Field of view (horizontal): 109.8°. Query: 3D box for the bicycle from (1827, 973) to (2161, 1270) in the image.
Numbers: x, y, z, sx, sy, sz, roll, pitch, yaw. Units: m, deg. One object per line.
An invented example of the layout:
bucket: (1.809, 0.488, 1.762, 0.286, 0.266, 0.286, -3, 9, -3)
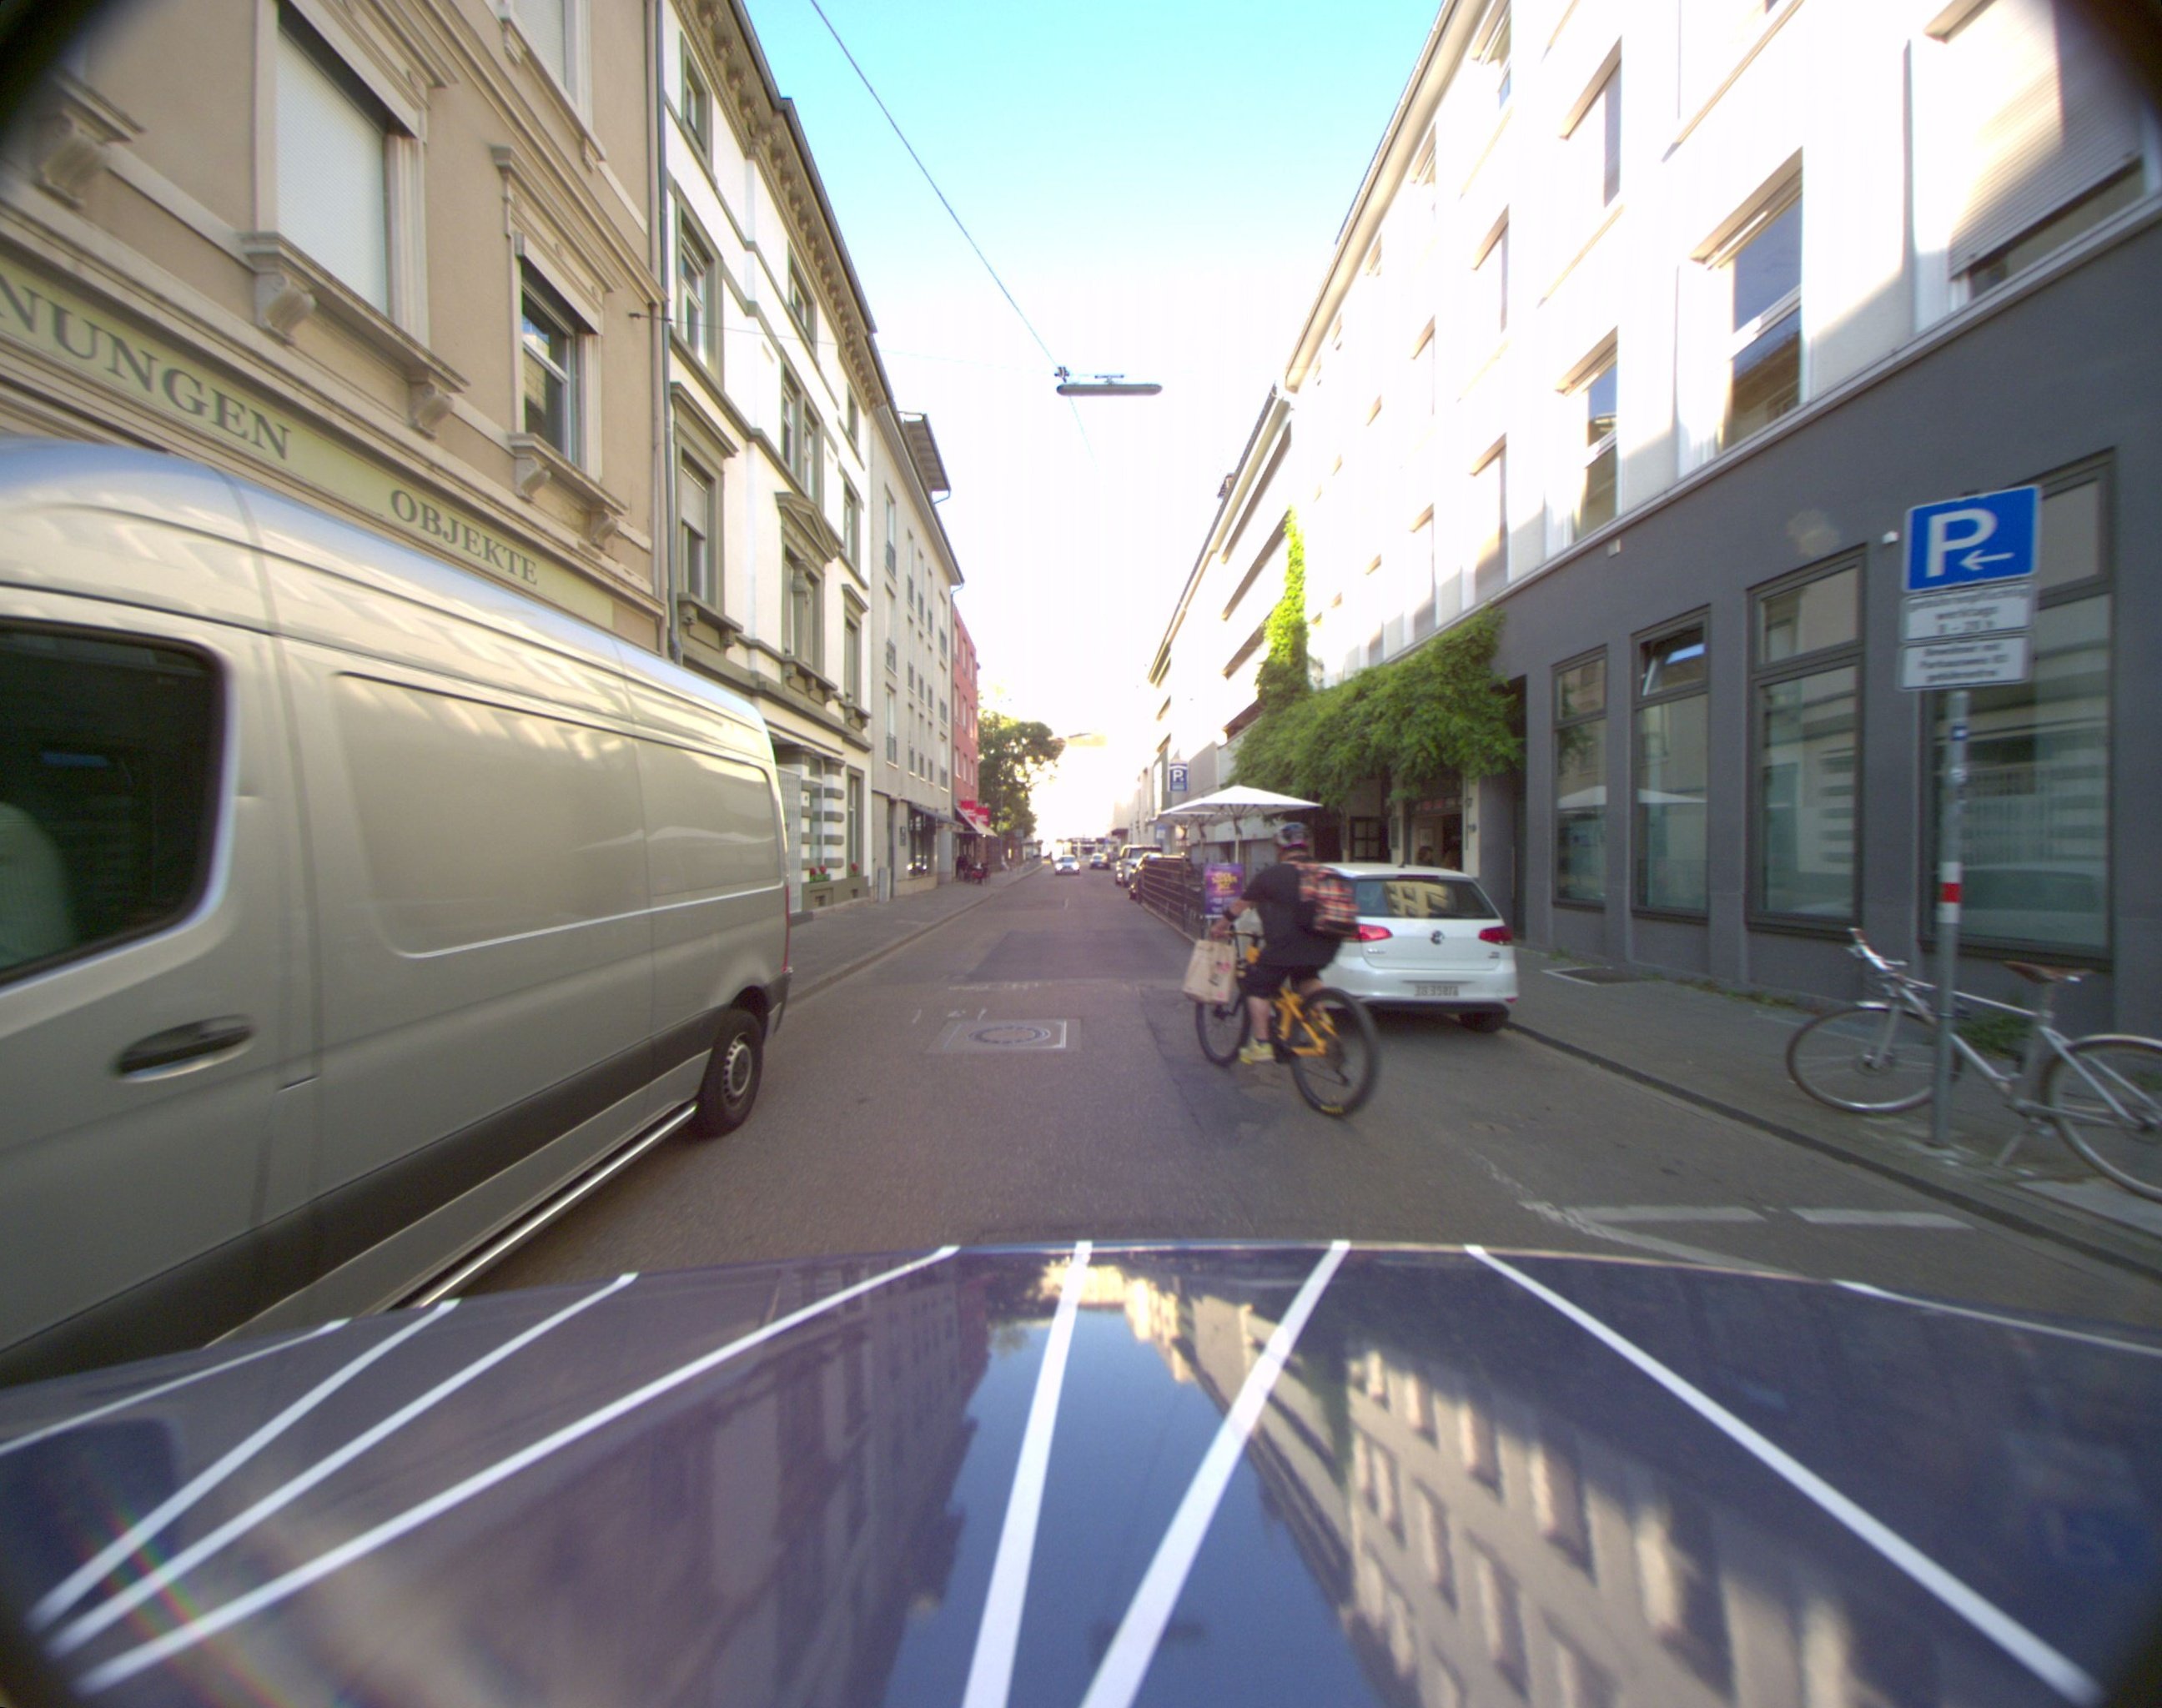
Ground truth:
bicycle: (4.327, 1.097, 3.283, 0.597, 0.900, 1.644, 0, 0, 0)

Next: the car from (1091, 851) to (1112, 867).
car: (2.045, 0.457, 73.917, 1.998, 1.409, 4.558, 1, 1, 2)

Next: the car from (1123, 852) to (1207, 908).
car: (2.578, 0.746, 24.466, 1.886, 1.559, 4.769, 2, 0, -3)

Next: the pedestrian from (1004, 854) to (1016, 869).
pedestrian: (-5.954, 0.642, 63.506, 0.928, 1.242, 0.362, 1, 1, -4)

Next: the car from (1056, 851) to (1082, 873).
car: (-0.885, 0.569, 55.728, 1.789, 1.515, 3.999, -2, 1, -1)

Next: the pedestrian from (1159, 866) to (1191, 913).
pedestrian: (2.416, 0.898, 19.417, 0.552, 1.159, 0.743, 0, 1, 32)

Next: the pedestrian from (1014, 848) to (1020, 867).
pedestrian: (-5.357, 0.288, 63.650, 0.438, 1.637, 0.557, 1, 1, 6)

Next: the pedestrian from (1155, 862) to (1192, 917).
pedestrian: (2.237, 0.847, 18.458, 0.783, 1.279, 0.915, 0, 1, 0)

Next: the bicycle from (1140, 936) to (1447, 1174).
bicycle: (1.226, 1.133, 4.840, 0.541, 1.002, 1.976, -1, 1, -36)

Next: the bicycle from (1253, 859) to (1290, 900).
bicycle: (5.578, 0.726, 22.366, 0.644, 1.153, 1.794, -1, 0, 0)

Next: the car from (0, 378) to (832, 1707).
car: (-2.963, 0.404, 2.335, 2.283, 2.425, 6.203, 0, 0, 0)

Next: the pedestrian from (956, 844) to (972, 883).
pedestrian: (-5.564, 0.436, 36.093, 0.660, 1.782, 0.729, 3, 1, -11)

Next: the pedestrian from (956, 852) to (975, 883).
pedestrian: (-5.542, 0.634, 36.417, 0.827, 1.477, 0.661, 0, 1, -2)

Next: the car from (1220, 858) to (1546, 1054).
car: (2.631, 0.777, 7.662, 1.662, 1.406, 3.881, 0, 1, -2)

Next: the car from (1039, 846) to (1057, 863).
car: (-4.151, 0.046, 95.799, 1.998, 2.002, 3.999, 0, 1, 0)

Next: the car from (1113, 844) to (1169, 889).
car: (2.737, 0.518, 35.825, 1.999, 1.928, 4.849, 1, 0, -3)

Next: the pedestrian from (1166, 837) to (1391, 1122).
pedestrian: (1.211, 0.671, 4.763, 0.833, 1.536, 1.079, -1, 1, -36)
